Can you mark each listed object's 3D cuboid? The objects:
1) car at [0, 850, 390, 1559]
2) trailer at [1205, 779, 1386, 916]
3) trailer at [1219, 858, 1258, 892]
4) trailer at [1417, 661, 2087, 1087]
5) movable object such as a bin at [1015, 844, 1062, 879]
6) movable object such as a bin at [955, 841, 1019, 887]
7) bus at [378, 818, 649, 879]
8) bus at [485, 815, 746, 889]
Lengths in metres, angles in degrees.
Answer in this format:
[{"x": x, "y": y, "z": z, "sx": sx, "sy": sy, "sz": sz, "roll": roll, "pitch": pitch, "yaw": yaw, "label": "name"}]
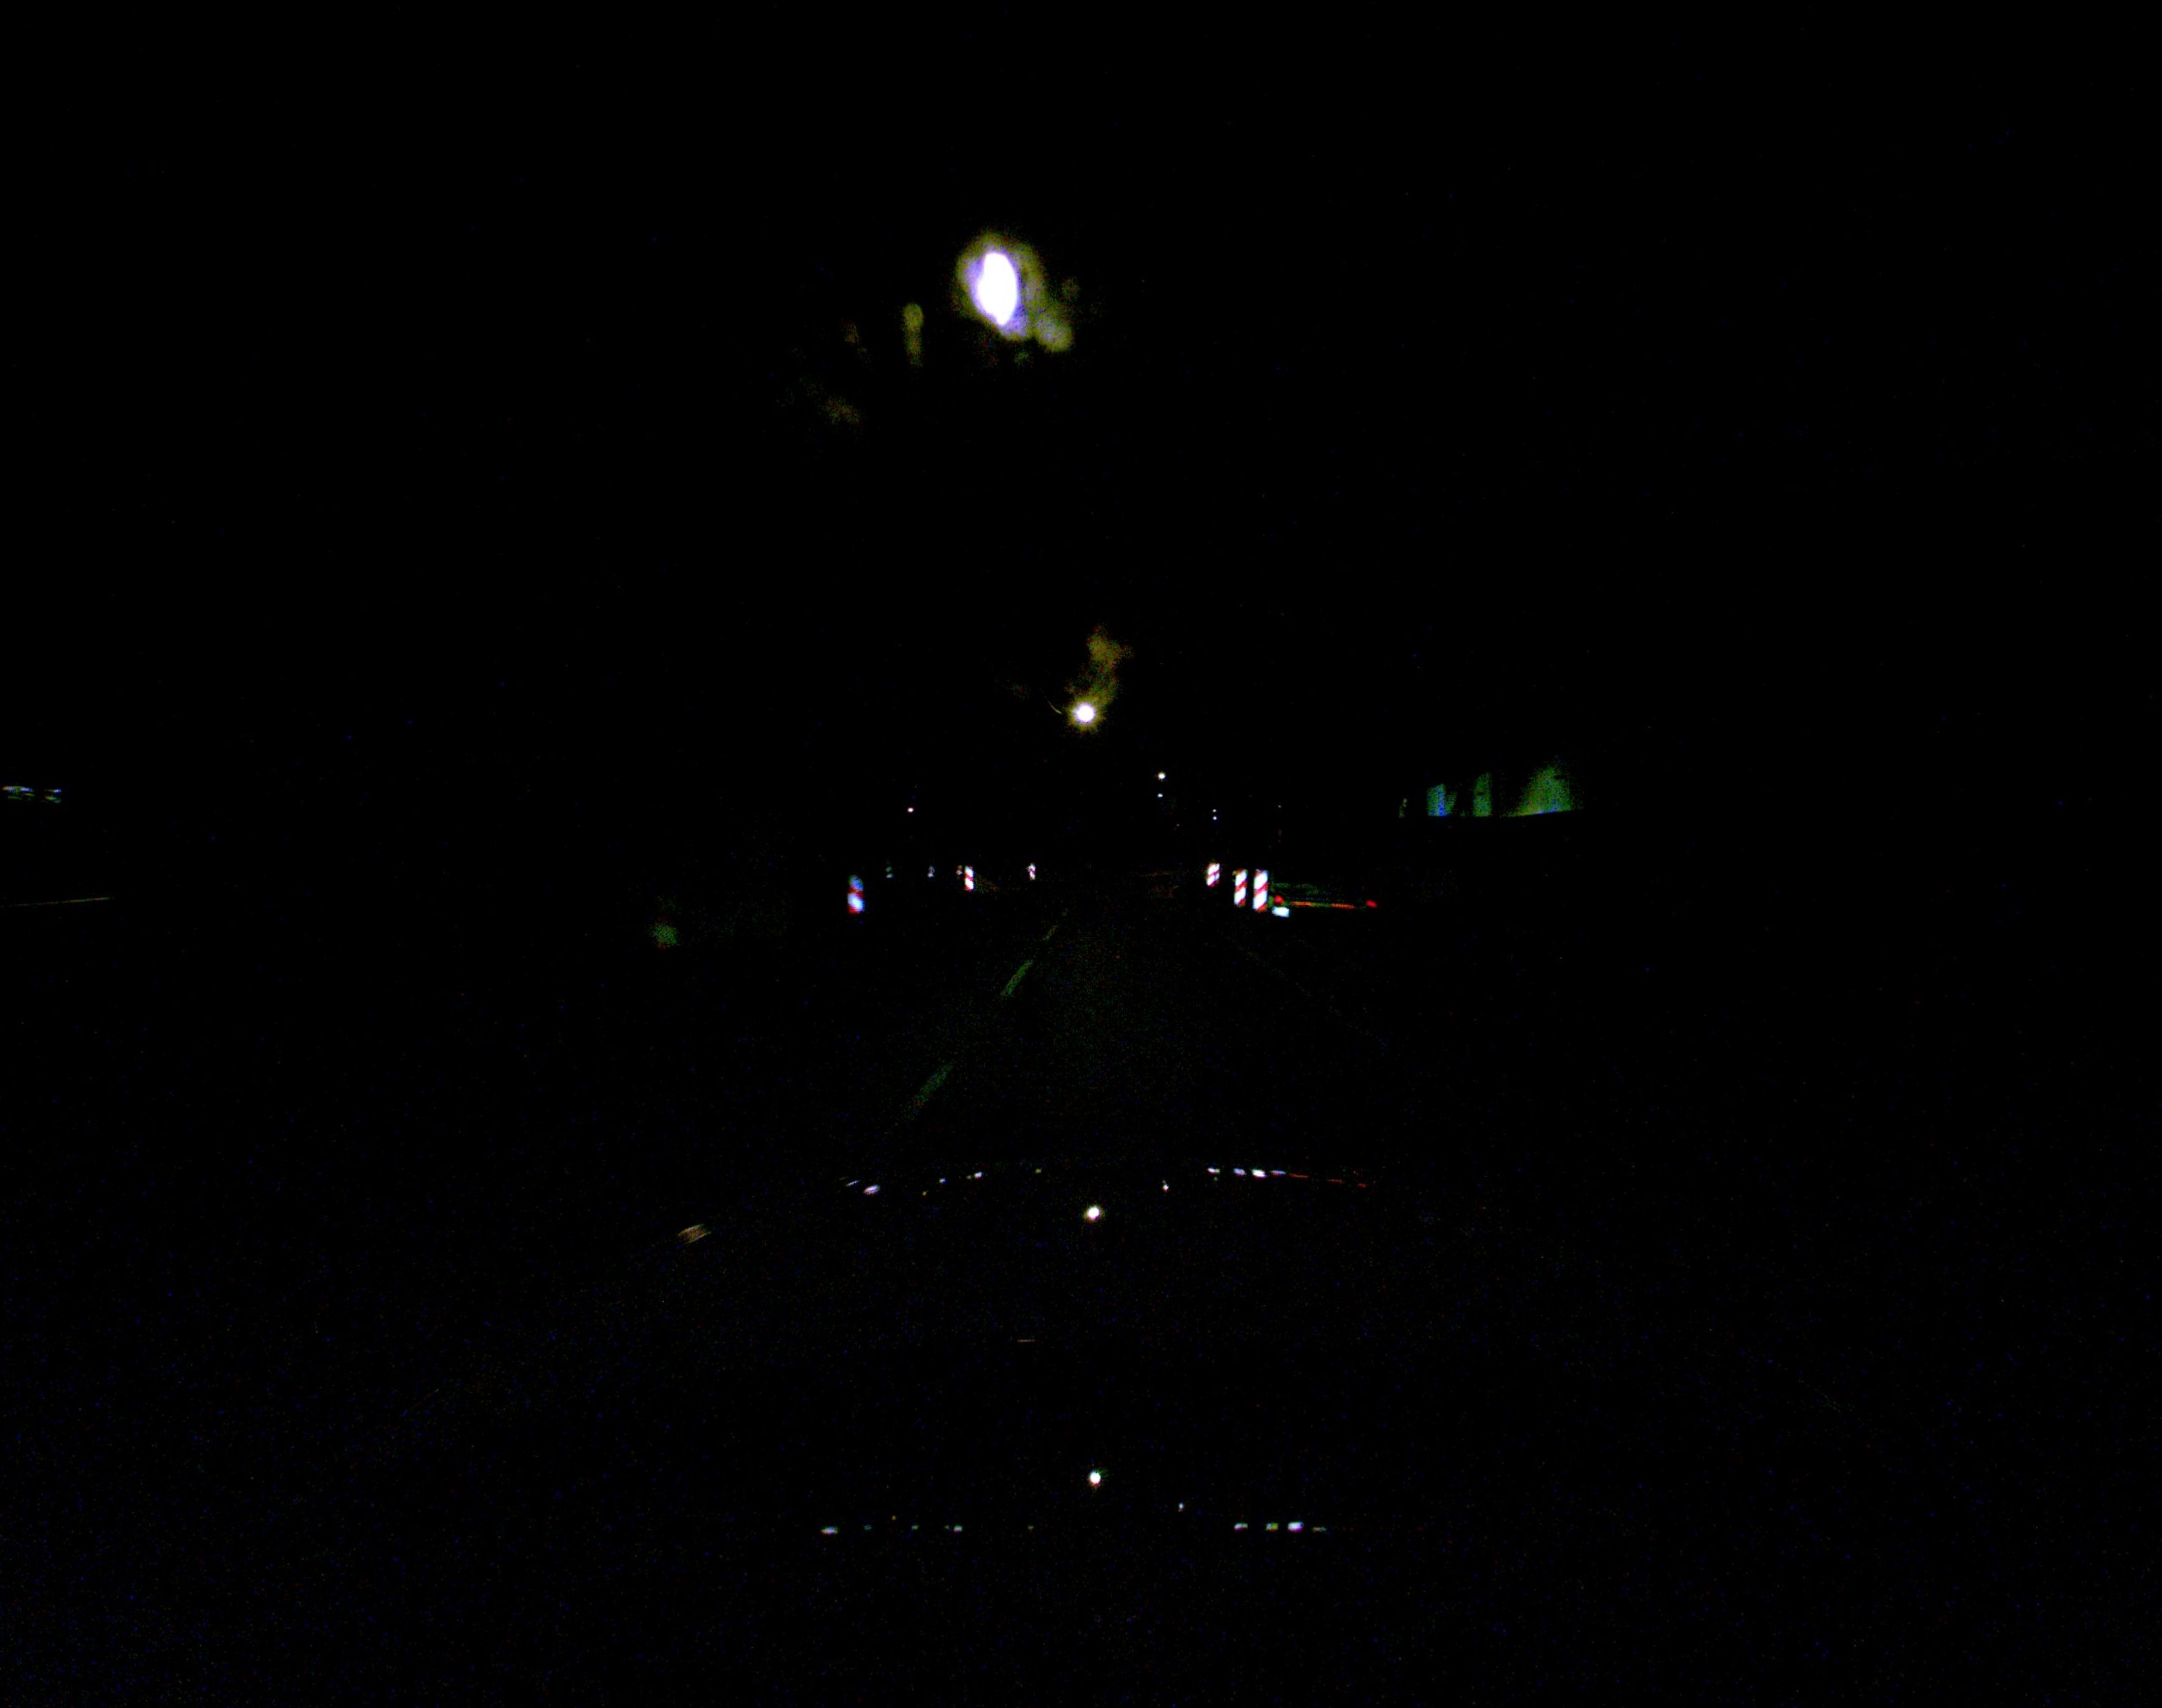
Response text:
[{"x": -3.286, "y": 0.807, "z": 1.329, "sx": 1.690, "sy": 1.576, "sz": 2.958, "roll": -2, "pitch": 0, "yaw": 2, "label": "car"}, {"x": 5.580, "y": -0.120, "z": 22.169, "sx": 3.472, "sy": 3.219, "sz": 4.861, "roll": 2, "pitch": -1, "yaw": -2, "label": "trailer"}, {"x": 7.218, "y": 0.937, "z": 37.519, "sx": 1.238, "sy": 1.434, "sz": 3.729, "roll": 1, "pitch": 0, "yaw": 3, "label": "trailer"}, {"x": 5.615, "y": 0.179, "z": 7.946, "sx": 2.606, "sy": 2.846, "sz": 4.705, "roll": 2, "pitch": -1, "yaw": -2, "label": "trailer"}, {"x": -2.883, "y": 0.520, "z": 56.851, "sx": 1.979, "sy": 2.376, "sz": 4.719, "roll": 0, "pitch": 0, "yaw": 14, "label": "movable object such as a bin"}, {"x": -5.129, "y": 0.507, "z": 45.058, "sx": 1.979, "sy": 2.376, "sz": 4.720, "roll": 0, "pitch": 0, "yaw": 14, "label": "movable object such as a bin"}, {"x": -31.160, "y": -0.297, "z": 45.771, "sx": 2.915, "sy": 2.982, "sz": 12.352, "roll": 0, "pitch": 0, "yaw": 31, "label": "bus"}, {"x": -23.052, "y": -0.127, "z": 41.887, "sx": 2.987, "sy": 3.204, "sz": 12.735, "roll": 0, "pitch": 0, "yaw": 20, "label": "bus"}]
